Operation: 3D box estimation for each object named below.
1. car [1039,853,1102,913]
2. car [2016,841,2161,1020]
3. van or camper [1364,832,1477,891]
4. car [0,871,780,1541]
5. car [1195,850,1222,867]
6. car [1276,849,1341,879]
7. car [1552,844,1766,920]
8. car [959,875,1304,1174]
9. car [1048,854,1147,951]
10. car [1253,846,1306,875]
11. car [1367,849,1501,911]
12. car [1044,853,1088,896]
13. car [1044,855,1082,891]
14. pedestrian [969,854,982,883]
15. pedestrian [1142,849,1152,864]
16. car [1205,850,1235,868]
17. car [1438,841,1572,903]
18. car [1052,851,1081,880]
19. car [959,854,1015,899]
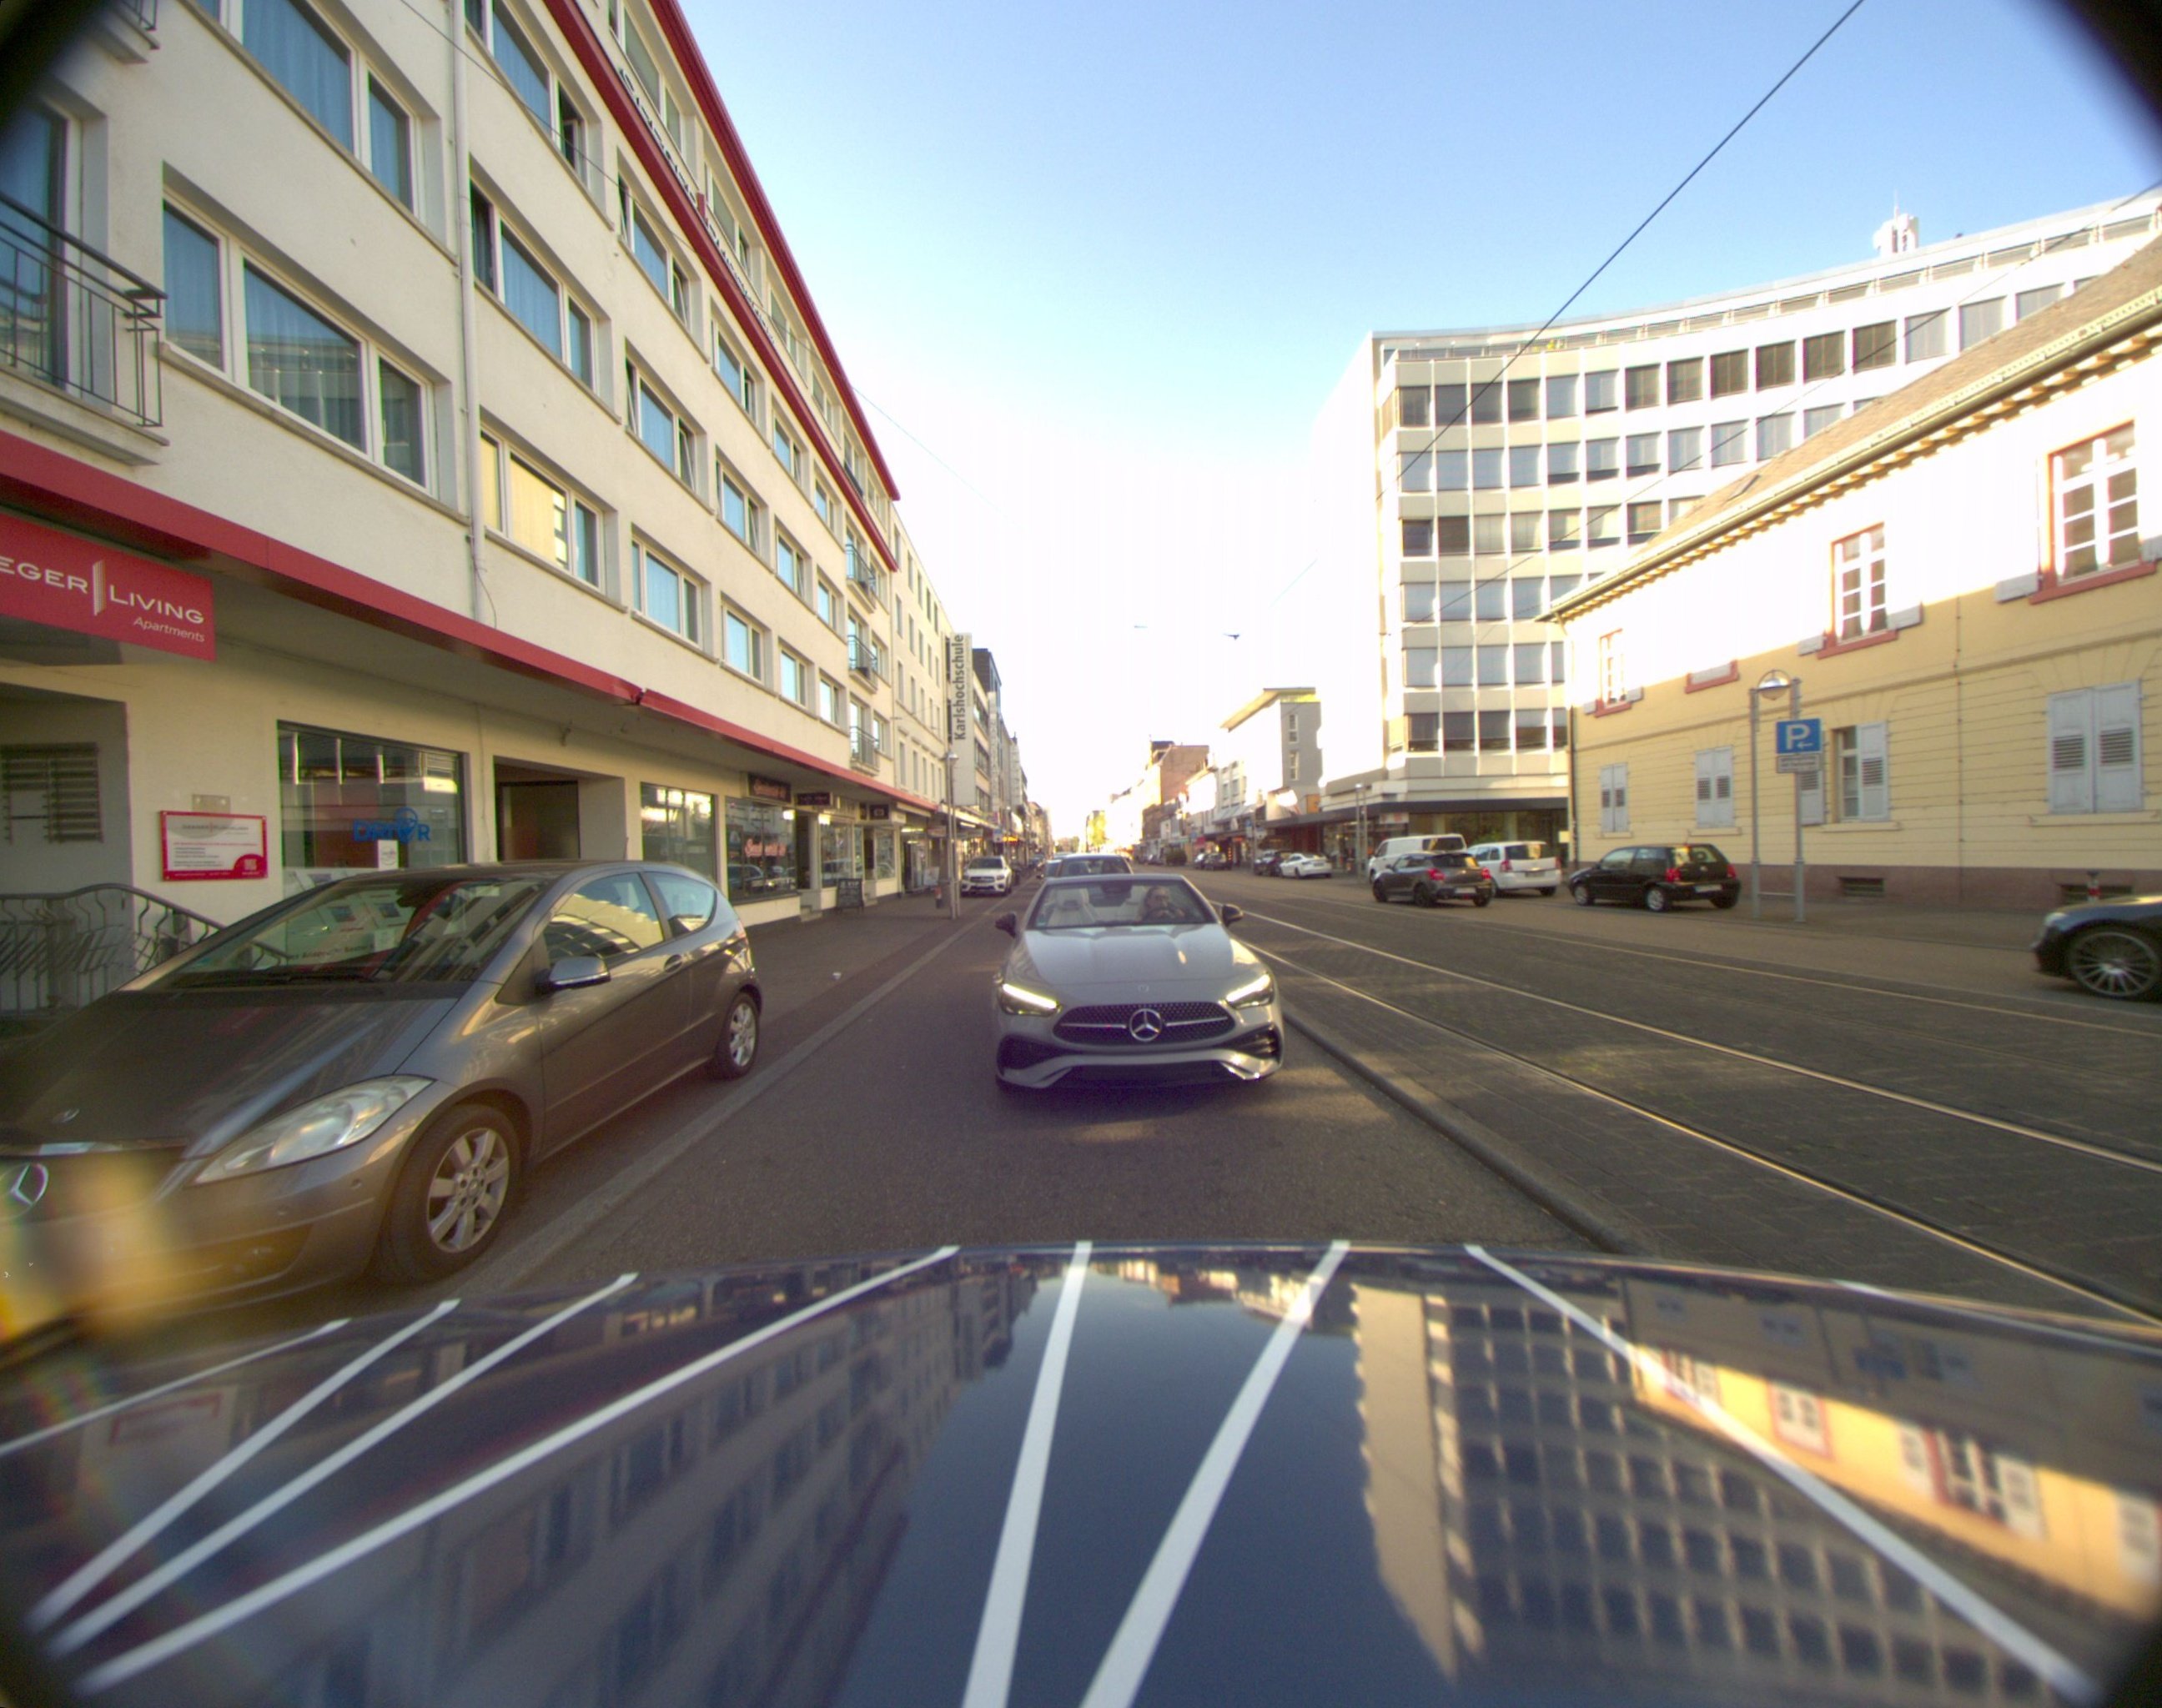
[{"bbox_3d":[-0.321,0.830,23.728,1.783,1.654,3.960,0,1,0],"label":"car"},{"bbox_3d":[10.074,0.631,5.046,1.782,1.500,4.667,-1,0,-6],"label":"car"},{"bbox_3d":[12.744,0.244,28.913,1.960,1.962,4.796,-3,1,-2],"label":"van or camper"},{"bbox_3d":[-3.223,0.942,3.883,1.781,1.560,3.960,0,1,0],"label":"car"},{"bbox_3d":[11.865,0.395,71.094,1.786,1.511,3.832,-2,1,-1],"label":"car"},{"bbox_3d":[12.516,0.501,42.115,1.931,1.444,4.291,-4,1,-5],"label":"car"},{"bbox_3d":[12.841,0.539,17.239,1.781,1.431,3.960,-3,1,0],"label":"car"},{"bbox_3d":[0.265,0.996,6.519,1.869,1.431,4.773,0,1,0],"label":"car"},{"bbox_3d":[0.284,0.853,15.328,1.737,1.654,3.960,0,1,0],"label":"car"},{"bbox_3d":[12.322,0.390,47.509,1.931,1.632,4.280,-4,1,-3],"label":"car"},{"bbox_3d":[9.427,0.637,20.658,1.781,1.500,3.859,-1,0,-1],"label":"car"},{"bbox_3d":[-0.612,0.803,31.951,1.737,1.654,3.960,0,1,0],"label":"car"},{"bbox_3d":[-0.855,0.885,37.449,1.737,1.654,3.781,0,1,0],"label":"car"},{"bbox_3d":[-6.750,0.941,48.563,0.706,1.807,0.807,-2,1,-3],"label":"pedestrian"},{"bbox_3d":[8.247,0.357,95.359,1.008,1.811,1.034,-2,1,14],"label":"pedestrian"},{"bbox_3d":[11.949,0.388,65.464,1.786,1.408,3.596,-2,1,-2],"label":"car"},{"bbox_3d":[12.767,0.482,23.213,1.781,1.611,4.175,-3,1,2],"label":"car"},{"bbox_3d":[-0.859,0.639,46.468,1.737,1.654,3.960,0,1,0],"label":"car"},{"bbox_3d":[-3.806,0.867,31.404,1.783,1.654,4.162,0,1,0],"label":"car"}]
